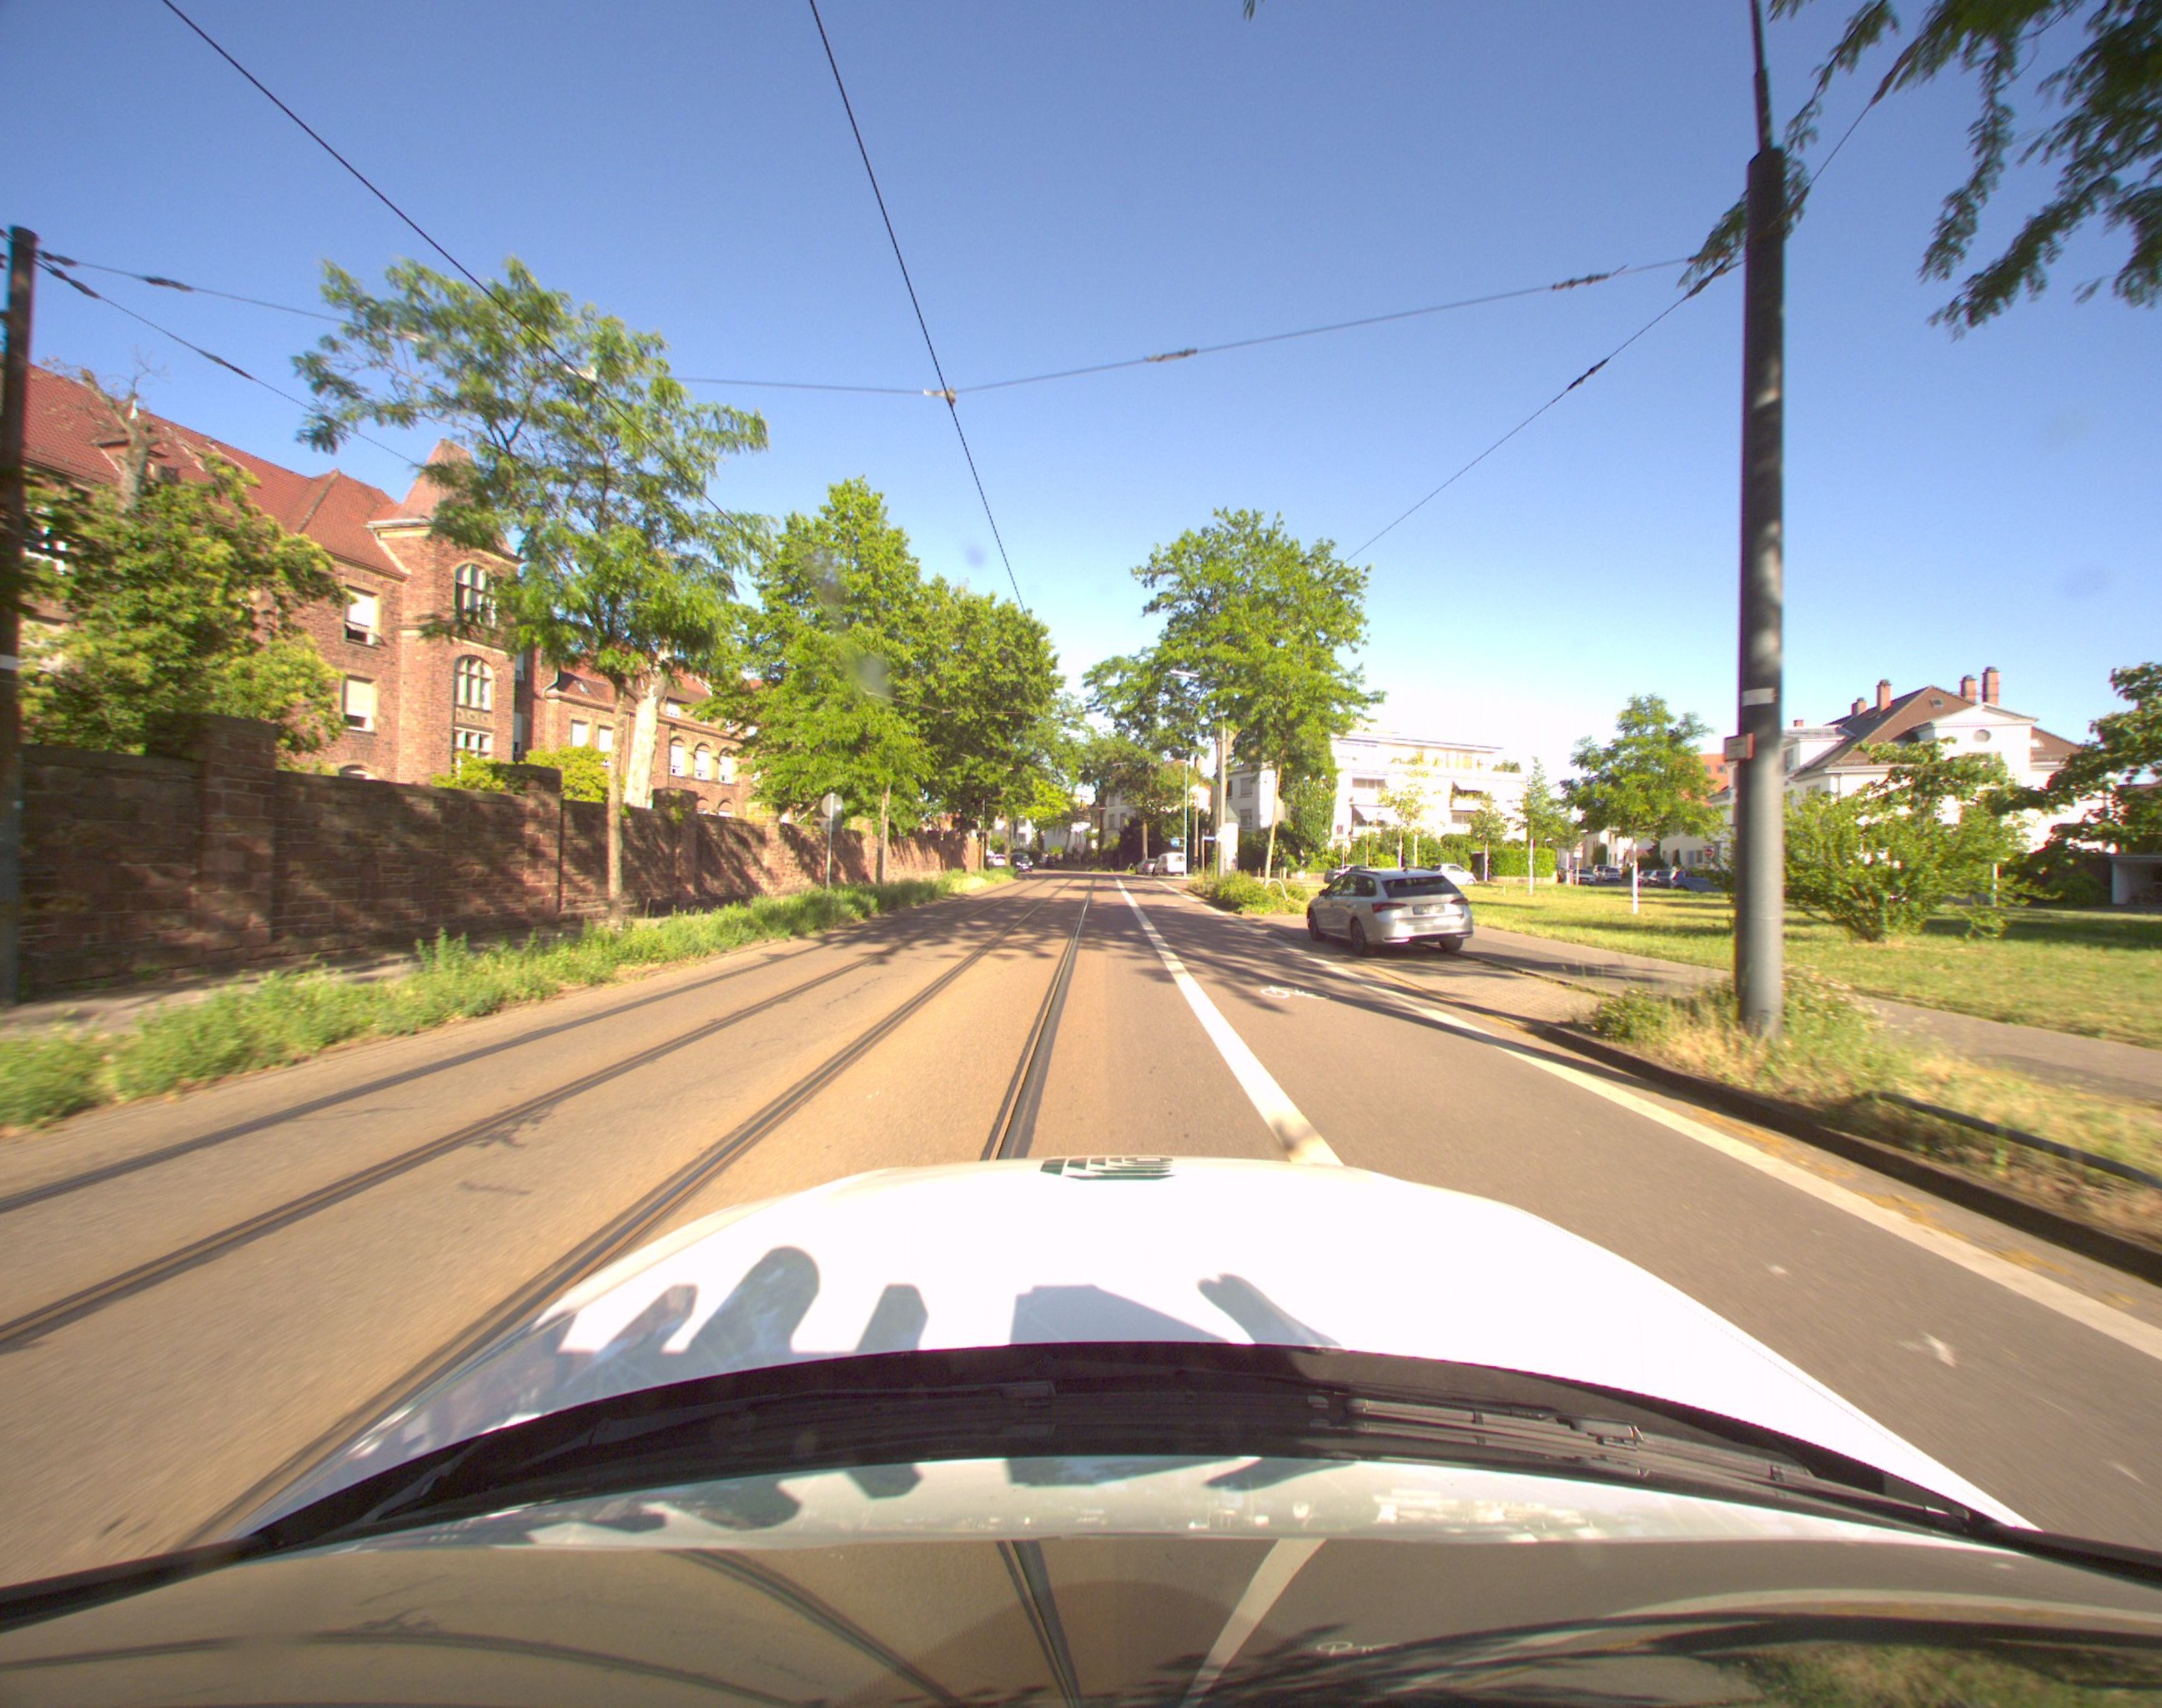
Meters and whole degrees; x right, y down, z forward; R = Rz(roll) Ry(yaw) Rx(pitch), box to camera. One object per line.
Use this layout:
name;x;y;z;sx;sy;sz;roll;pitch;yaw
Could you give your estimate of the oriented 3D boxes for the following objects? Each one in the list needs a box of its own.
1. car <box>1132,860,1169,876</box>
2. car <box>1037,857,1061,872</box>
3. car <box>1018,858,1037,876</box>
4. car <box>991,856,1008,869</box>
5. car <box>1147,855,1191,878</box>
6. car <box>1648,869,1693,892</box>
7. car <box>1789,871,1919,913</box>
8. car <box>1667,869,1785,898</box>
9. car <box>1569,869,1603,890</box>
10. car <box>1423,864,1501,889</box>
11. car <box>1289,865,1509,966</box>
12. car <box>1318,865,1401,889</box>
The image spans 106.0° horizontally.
car;6.086;1.222;71.649;1.996;1.423;4.311;1;-1;-14
car;-4.077;1.331;103.831;1.809;1.694;4.700;-2;0;-18
car;-5.311;1.273;80.995;1.628;1.792;4.335;1;0;-1
car;-10.948;1.192;109.514;1.893;1.611;4.212;1;-2;-11
car;7.037;0.981;65.740;2.025;1.747;4.729;1;0;-14
car;48.524;2.162;67.138;1.976;1.785;4.627;1;-1;23
car;36.102;1.752;38.181;1.997;1.780;3.980;1;-1;-14
car;35.218;1.580;44.631;2.063;1.471;4.727;1;-1;-17
car;44.788;2.228;72.355;2.027;1.708;4.312;1;-1;24
car;24.329;1.469;52.026;4.281;1.511;1.833;1;-3;-11
car;5.641;0.990;15.366;1.994;1.465;5.432;-3;-1;0
car;17.135;1.393;50.121;4.520;1.369;1.958;1;-1;-17
